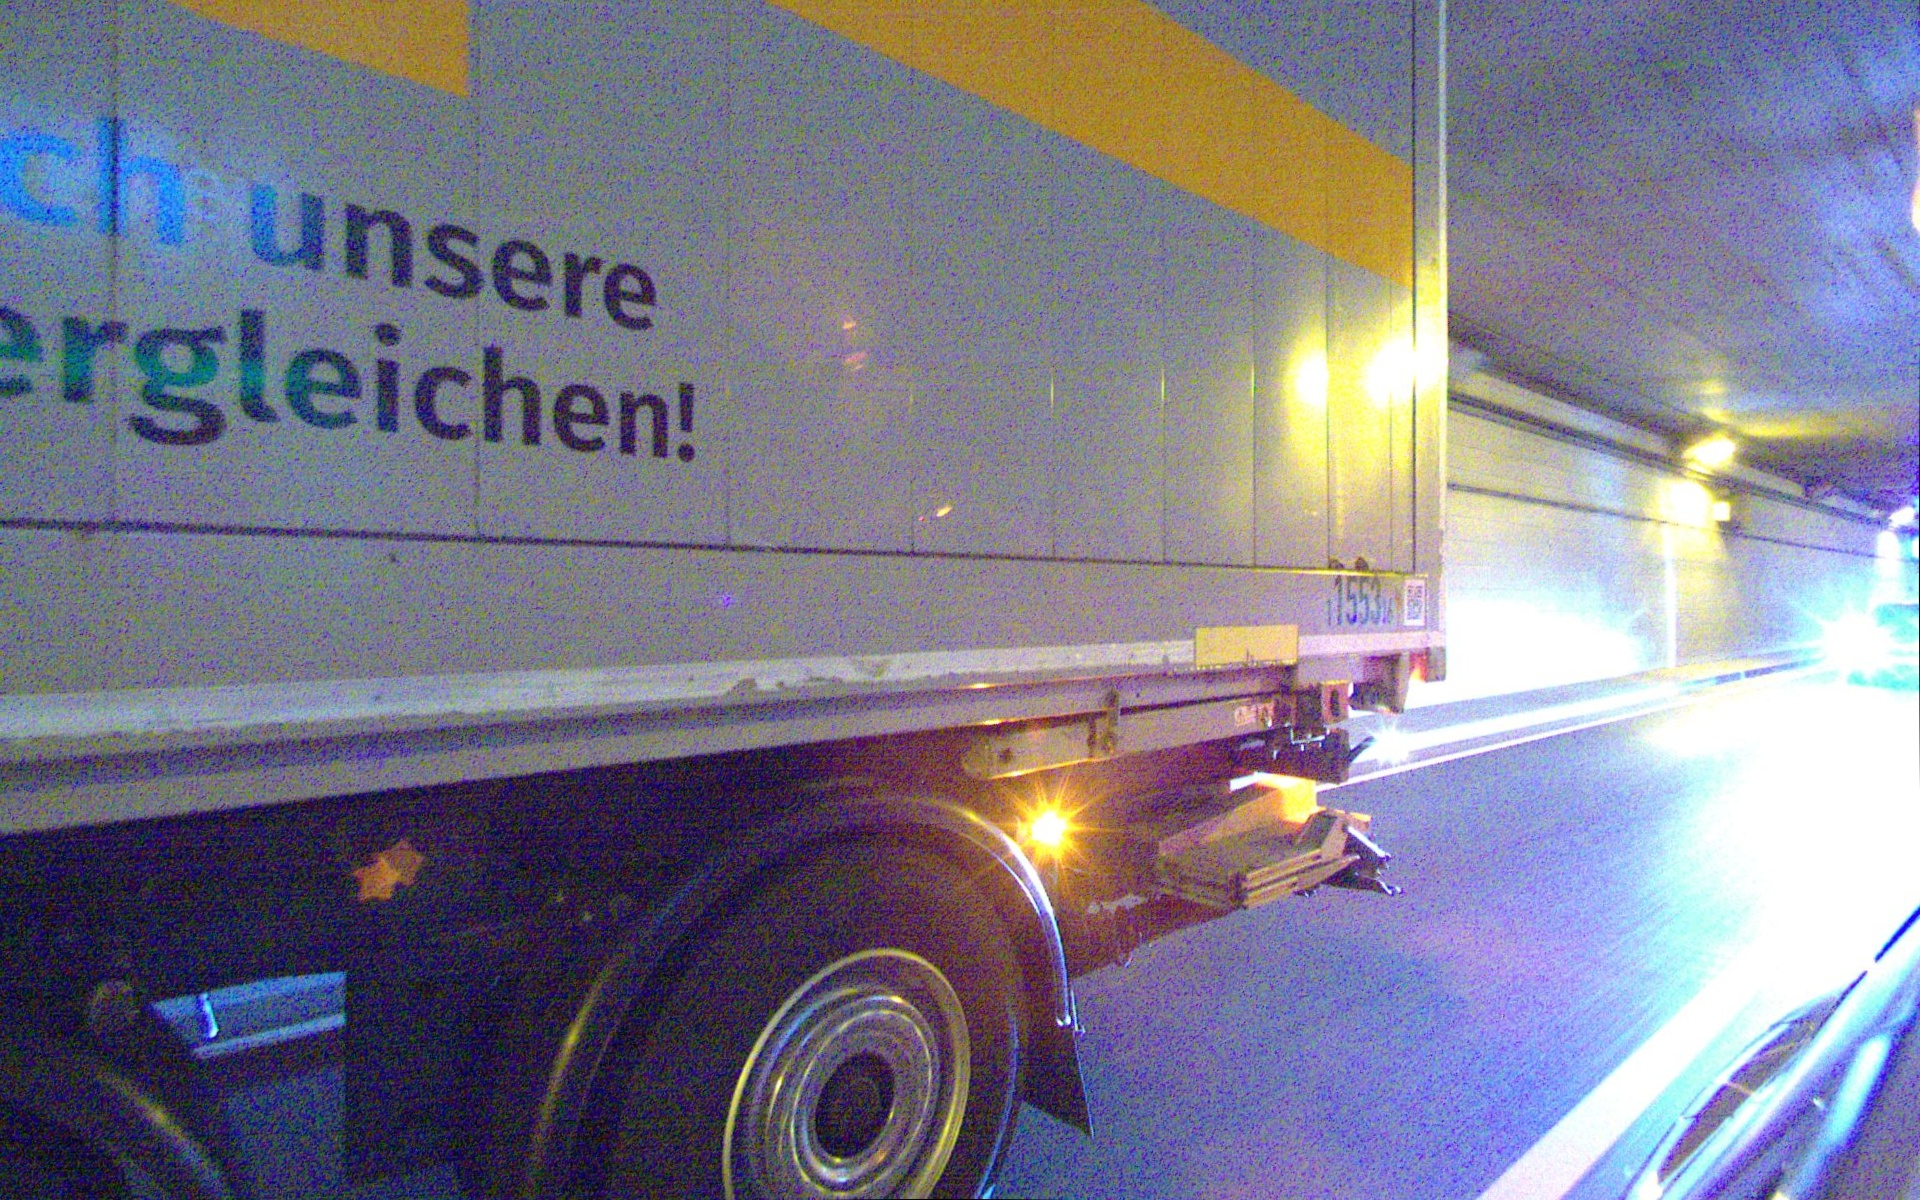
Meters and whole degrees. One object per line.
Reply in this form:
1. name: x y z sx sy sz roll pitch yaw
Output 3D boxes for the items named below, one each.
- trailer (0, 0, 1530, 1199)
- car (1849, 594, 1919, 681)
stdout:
1. trailer: -2.291 -0.556 1.710 8.791 3.907 2.880 0 0 -41
2. car: 17.299 0.617 18.021 3.733 1.420 1.733 -1 1 -41
